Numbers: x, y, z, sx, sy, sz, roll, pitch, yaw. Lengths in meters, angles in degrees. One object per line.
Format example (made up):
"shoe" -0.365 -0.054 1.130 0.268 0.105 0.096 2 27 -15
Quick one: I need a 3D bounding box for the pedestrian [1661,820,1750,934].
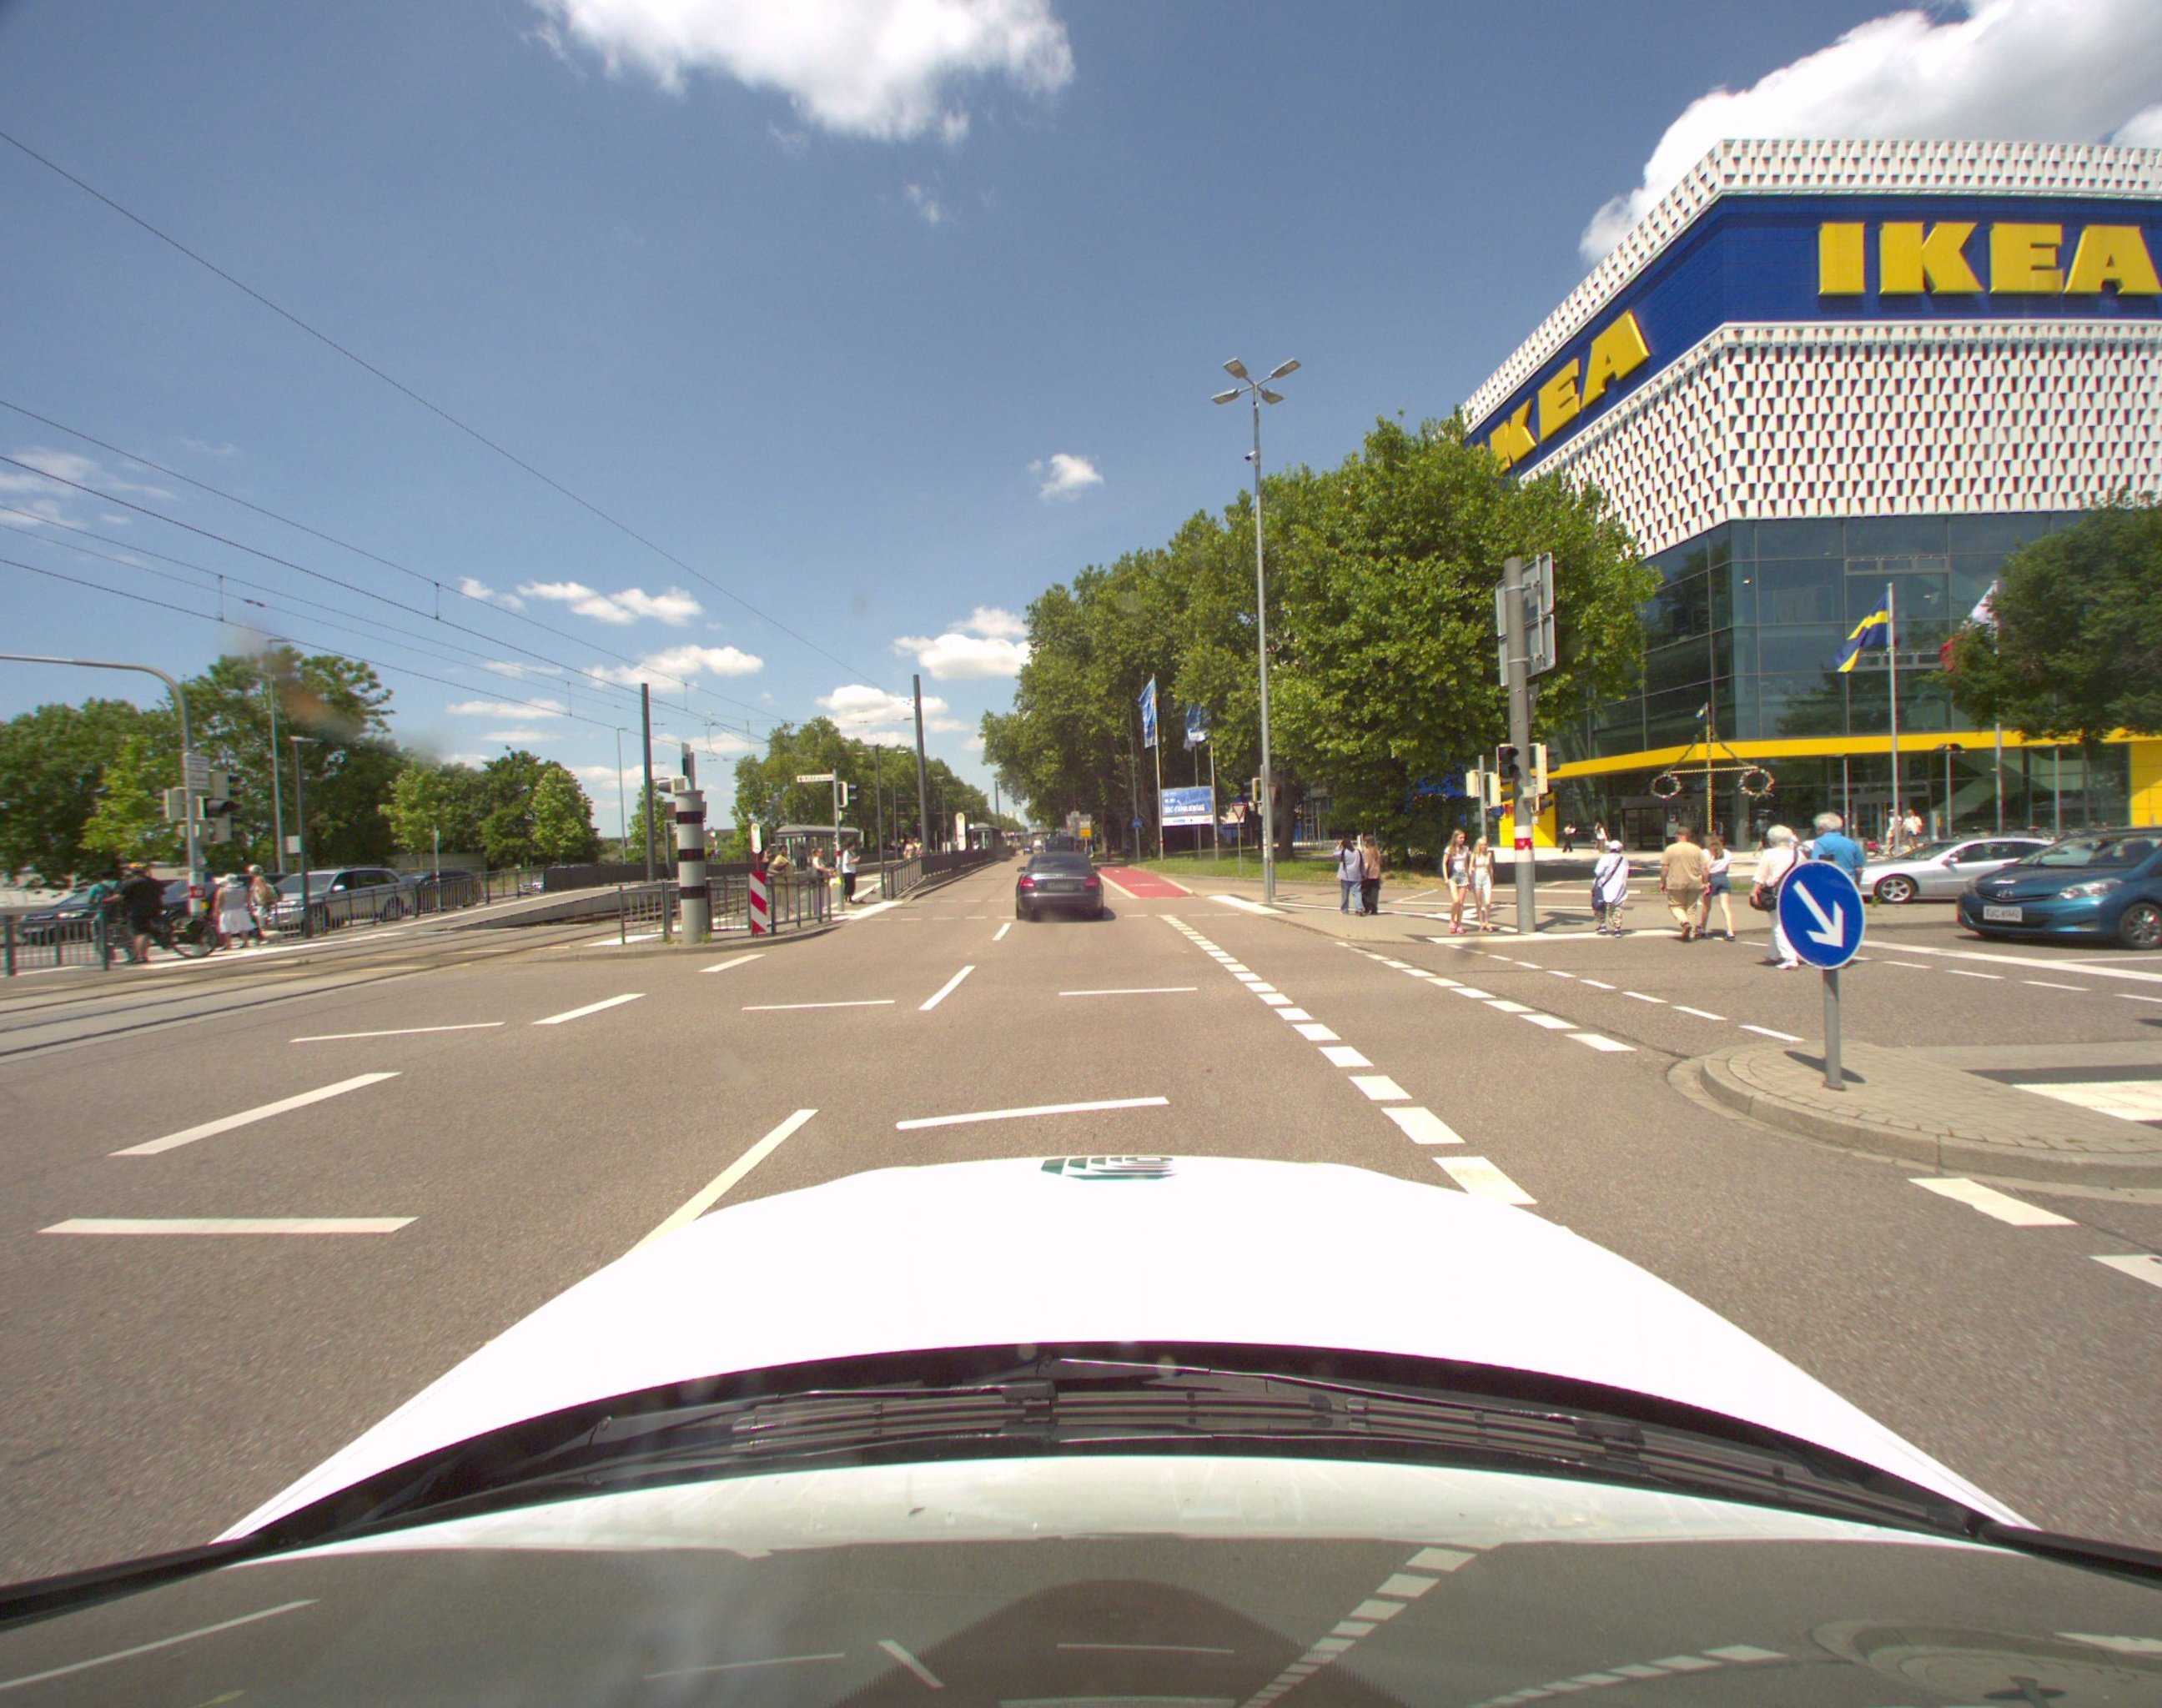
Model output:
"pedestrian" 9.473 0.335 12.390 0.789 1.659 0.855 -1 1 14

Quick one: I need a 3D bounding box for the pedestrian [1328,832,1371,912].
"pedestrian" 5.519 0.357 16.782 0.759 1.606 0.900 -1 1 15

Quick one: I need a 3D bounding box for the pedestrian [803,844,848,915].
"pedestrian" -5.874 0.571 18.747 0.784 1.572 0.763 -2 1 -6

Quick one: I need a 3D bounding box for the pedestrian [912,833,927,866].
"pedestrian" -8.227 -0.243 41.574 0.612 1.681 0.719 -1 1 -5

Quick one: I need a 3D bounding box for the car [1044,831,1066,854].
"car" -2.320 -1.069 72.680 1.843 1.959 4.143 -1 1 -1

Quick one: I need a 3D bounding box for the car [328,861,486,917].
"car" -23.652 1.165 28.837 1.988 1.628 4.279 -2 1 -1

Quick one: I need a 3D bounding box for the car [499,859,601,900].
"car" -23.978 1.114 36.945 1.988 1.629 3.998 -1 1 -1

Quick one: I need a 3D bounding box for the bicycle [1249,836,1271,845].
"bicycle" 22.545 -1.669 102.510 2.543 1.110 0.757 -2 1 -8

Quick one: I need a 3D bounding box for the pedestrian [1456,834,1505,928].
"pedestrian" 6.936 0.454 14.152 0.525 1.579 0.612 -1 1 2

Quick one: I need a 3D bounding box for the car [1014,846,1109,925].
"car" -0.542 0.597 18.165 1.839 1.484 3.993 -2 1 -5

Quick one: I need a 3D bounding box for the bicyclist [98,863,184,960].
"bicyclist" -16.428 0.982 14.260 0.666 1.615 0.729 -1 1 -18

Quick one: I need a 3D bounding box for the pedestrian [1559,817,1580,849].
"pedestrian" 27.538 -1.177 45.940 0.776 1.735 0.743 -2 1 10

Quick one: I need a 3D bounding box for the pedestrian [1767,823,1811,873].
"pedestrian" 23.495 -0.207 27.034 0.917 1.586 0.632 -2 1 -8

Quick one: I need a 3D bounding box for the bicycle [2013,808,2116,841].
"bicycle" 37.944 -1.129 31.465 0.801 1.198 2.420 -2 1 -16

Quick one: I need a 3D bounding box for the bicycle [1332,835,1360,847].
"bicycle" 22.296 -1.103 68.421 2.057 0.969 0.867 -2 1 -7

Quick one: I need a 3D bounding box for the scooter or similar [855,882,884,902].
"scooter or similar" -5.991 1.072 23.086 0.725 0.506 0.456 -2 1 -6

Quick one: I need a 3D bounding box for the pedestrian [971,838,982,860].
"pedestrian" -7.979 -0.373 62.118 0.731 1.665 0.741 -2 1 -4

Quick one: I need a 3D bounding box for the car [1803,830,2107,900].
"car" 18.826 0.242 17.772 4.276 1.418 1.739 -1 1 14

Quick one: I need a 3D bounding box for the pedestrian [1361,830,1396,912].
"pedestrian" 6.307 0.351 17.302 0.618 1.683 0.729 -1 1 15

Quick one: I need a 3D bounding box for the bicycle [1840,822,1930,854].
"bicycle" 31.293 -0.616 31.752 0.801 1.145 2.420 -2 1 -16

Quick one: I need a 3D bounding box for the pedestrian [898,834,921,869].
"pedestrian" -8.003 -0.125 38.036 0.888 1.604 0.923 -2 1 -4

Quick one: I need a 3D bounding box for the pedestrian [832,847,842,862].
"pedestrian" -19.621 0.042 65.496 0.575 1.190 0.638 -2 1 -2

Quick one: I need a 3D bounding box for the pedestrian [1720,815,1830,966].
"pedestrian" 7.867 0.398 9.265 0.601 1.637 0.867 -1 0 14

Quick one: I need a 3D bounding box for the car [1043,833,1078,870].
"car" -1.123 -0.183 45.468 1.843 1.959 4.143 -1 1 -1

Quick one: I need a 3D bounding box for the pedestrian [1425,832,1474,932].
"pedestrian" 6.334 0.465 14.018 0.525 1.666 0.640 -1 1 2

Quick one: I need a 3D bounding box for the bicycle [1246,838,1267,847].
"bicycle" 22.567 -1.501 104.724 2.543 1.110 0.757 -2 1 -8

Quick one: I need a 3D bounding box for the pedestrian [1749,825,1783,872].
"pedestrian" 23.267 -0.190 27.681 0.609 1.586 0.632 -2 1 -8

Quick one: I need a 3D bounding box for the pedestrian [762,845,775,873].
"pedestrian" -18.651 0.314 48.607 0.557 1.638 0.804 -2 1 -10

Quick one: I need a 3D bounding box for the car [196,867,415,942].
"car" -20.461 1.262 21.762 1.988 1.629 3.998 -2 1 -1

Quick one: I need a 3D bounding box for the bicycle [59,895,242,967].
"bicycle" -16.329 1.327 14.359 1.977 1.101 0.760 -1 1 -18

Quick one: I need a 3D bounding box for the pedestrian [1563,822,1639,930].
"pedestrian" 8.325 0.336 13.074 0.789 1.659 0.855 -1 1 14

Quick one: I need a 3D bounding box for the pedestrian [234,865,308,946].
"pedestrian" -17.811 1.115 17.927 0.760 1.672 0.763 -2 1 -5

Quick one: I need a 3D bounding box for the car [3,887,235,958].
"car" -29.200 2.007 24.976 1.989 1.629 4.305 -2 1 -3

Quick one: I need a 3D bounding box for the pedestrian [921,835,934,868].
"pedestrian" -7.591 -0.129 40.284 0.496 1.577 0.556 -2 1 -4

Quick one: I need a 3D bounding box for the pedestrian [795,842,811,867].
"pedestrian" -18.868 0.060 55.200 0.817 1.638 0.582 -2 1 35

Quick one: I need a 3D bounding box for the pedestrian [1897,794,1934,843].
"pedestrian" 35.173 -1.503 34.341 0.793 2.013 0.734 -2 1 5

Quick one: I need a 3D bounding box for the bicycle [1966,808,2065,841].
"bicycle" 36.270 -1.126 31.655 0.801 1.198 2.420 -2 1 -16

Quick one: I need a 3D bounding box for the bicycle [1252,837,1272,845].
"bicycle" 22.579 -1.657 101.397 2.314 0.960 0.757 -2 1 -8

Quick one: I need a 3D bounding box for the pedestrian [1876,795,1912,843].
"pedestrian" 35.298 -1.516 35.365 0.792 2.013 0.735 -2 1 9

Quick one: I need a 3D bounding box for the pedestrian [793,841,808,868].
"pedestrian" -18.545 0.023 53.863 0.729 1.728 0.582 -2 1 35

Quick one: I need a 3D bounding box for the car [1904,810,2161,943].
"car" 13.786 0.213 10.777 3.979 1.555 1.997 -1 1 -4

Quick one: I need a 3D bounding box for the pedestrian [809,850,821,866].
"pedestrian" -18.942 0.305 57.944 0.575 1.094 0.638 -2 1 -2

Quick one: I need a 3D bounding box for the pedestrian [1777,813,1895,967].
"pedestrian" 8.479 0.389 9.184 0.598 1.637 0.867 -1 0 14

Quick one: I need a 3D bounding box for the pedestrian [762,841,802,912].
"pedestrian" -7.272 0.536 19.830 0.731 1.672 0.677 -2 1 -6

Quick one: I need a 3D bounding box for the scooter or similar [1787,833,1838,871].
"scooter or similar" 24.311 -0.065 27.076 1.072 1.198 0.727 -2 1 -4

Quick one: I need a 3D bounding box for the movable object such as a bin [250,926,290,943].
"movable object such as a bin" -17.455 1.732 17.528 0.570 0.321 0.228 -2 1 -6

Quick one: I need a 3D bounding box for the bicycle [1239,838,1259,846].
"bicycle" 22.143 -1.522 107.225 2.543 0.970 0.757 -2 1 -8

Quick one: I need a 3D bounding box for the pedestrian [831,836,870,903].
"pedestrian" -6.433 0.423 22.787 0.861 1.802 0.882 -2 1 -6

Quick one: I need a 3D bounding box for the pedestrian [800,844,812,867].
"pedestrian" -18.948 0.107 56.058 0.575 1.533 0.638 -2 1 -2

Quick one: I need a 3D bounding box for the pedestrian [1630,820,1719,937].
"pedestrian" 8.757 0.341 12.052 0.789 1.659 0.855 -1 1 14

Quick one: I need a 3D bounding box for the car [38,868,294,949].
"car" -23.152 1.300 20.899 1.988 1.628 3.998 -2 1 -1

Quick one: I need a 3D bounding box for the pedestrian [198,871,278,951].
"pedestrian" -17.141 1.142 16.579 0.760 1.548 0.763 -2 1 -5

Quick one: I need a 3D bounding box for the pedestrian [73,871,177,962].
"pedestrian" -18.082 1.170 15.430 0.955 1.610 0.763 -2 1 -5
